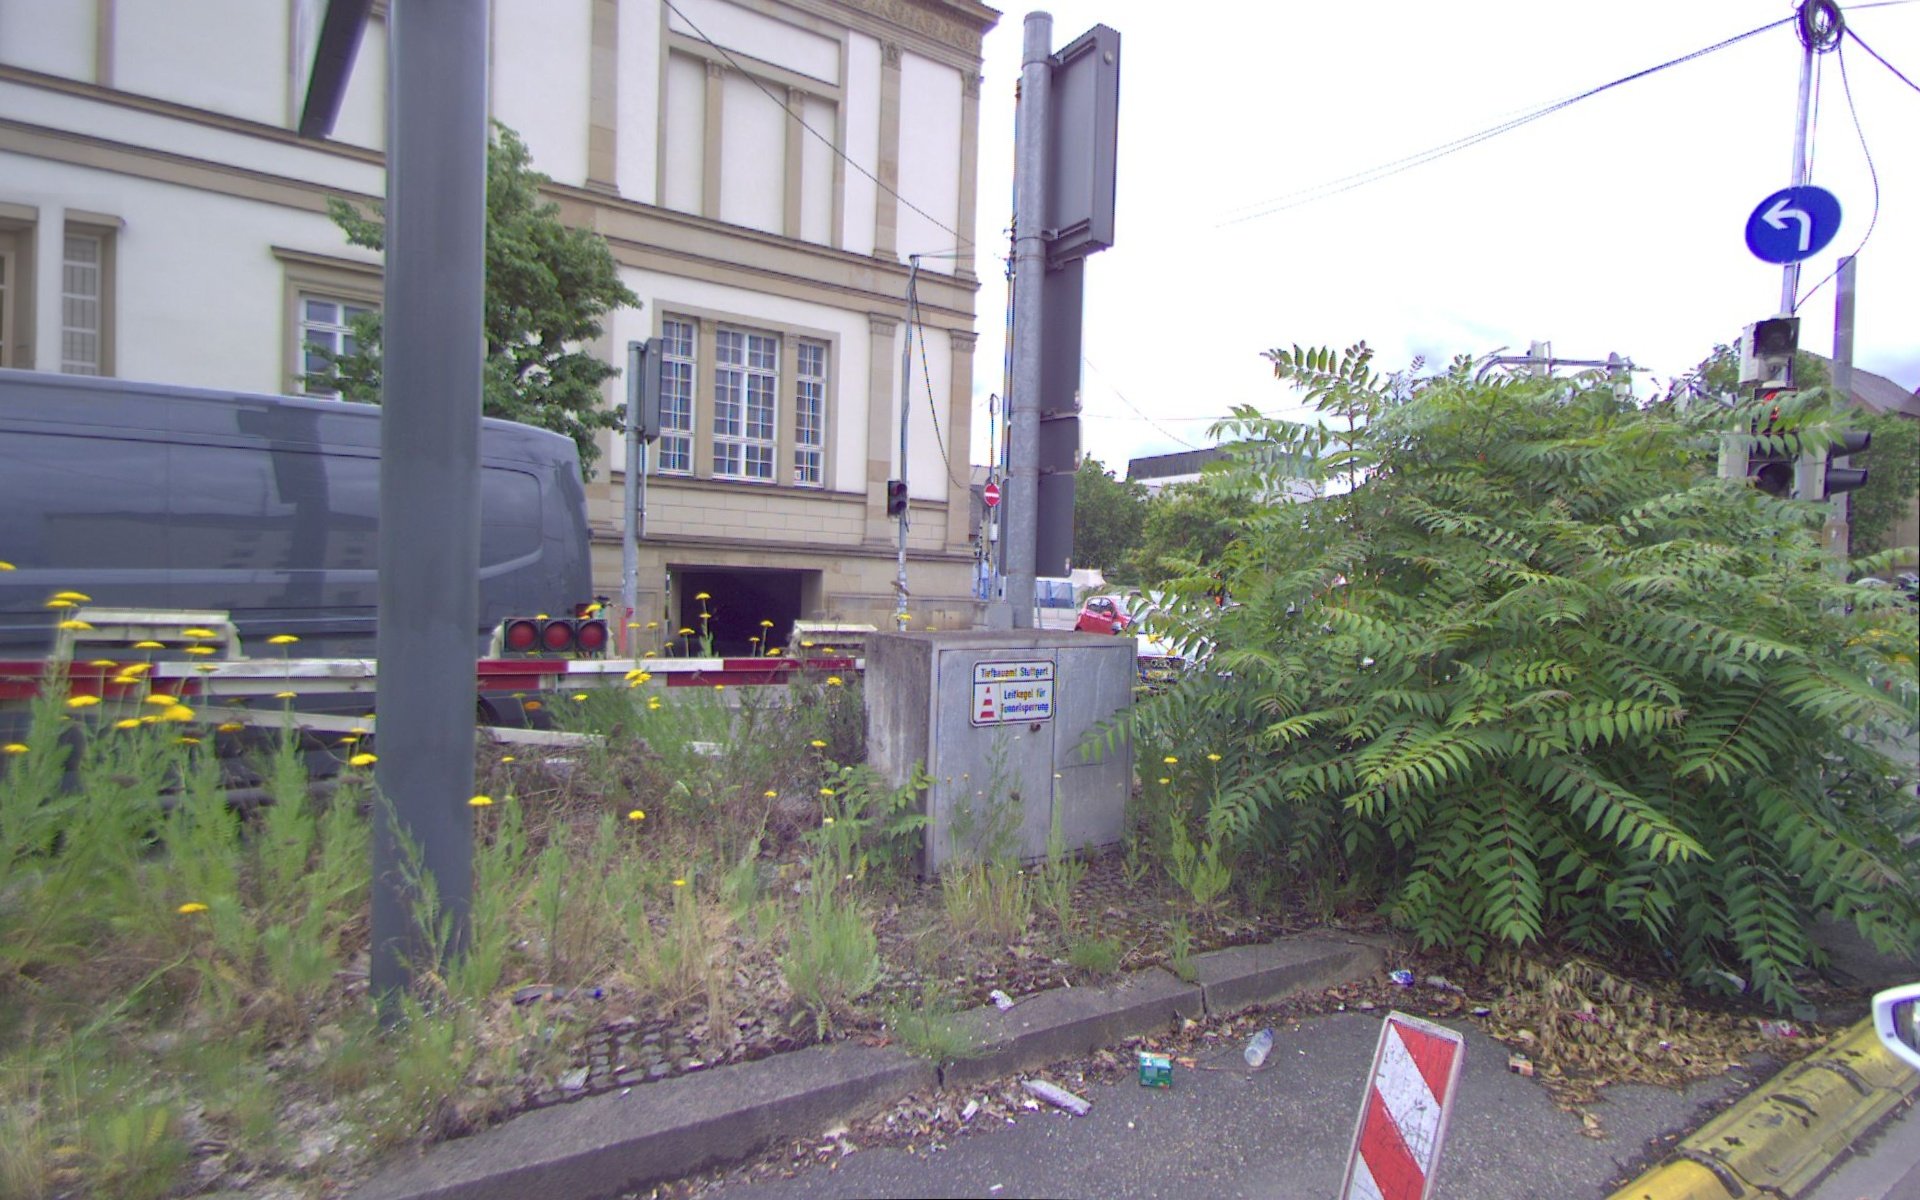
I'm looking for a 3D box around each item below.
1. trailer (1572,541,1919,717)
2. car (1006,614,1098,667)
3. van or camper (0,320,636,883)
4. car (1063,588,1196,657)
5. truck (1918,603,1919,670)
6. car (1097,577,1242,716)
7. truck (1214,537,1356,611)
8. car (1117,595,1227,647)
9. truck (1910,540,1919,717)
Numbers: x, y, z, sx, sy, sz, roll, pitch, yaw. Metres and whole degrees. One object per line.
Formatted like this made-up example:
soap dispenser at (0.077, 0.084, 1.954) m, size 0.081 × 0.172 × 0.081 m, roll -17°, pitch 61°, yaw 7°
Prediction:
trailer at (15.428, 0.472, 17.804) m, size 2.831 × 2.761 × 7.308 m, roll 2°, pitch 0°, yaw -32°
car at (3.861, 1.685, 42.799) m, size 1.975 × 2.040 × 3.970 m, roll 2°, pitch 0°, yaw -28°
van or camper at (-5.149, -0.004, 5.567) m, size 6.030 × 2.645 × 2.136 m, roll 1°, pitch 0°, yaw -39°
car at (4.322, 0.544, 26.298) m, size 1.879 × 1.630 × 3.986 m, roll 2°, pitch 0°, yaw -16°
truck at (47.131, 1.755, 44.485) m, size 6.499 × 3.188 × 2.358 m, roll 2°, pitch 0°, yaw 38°
car at (3.111, 0.614, 14.982) m, size 1.797 × 1.728 × 4.002 m, roll 2°, pitch 0°, yaw 12°
truck at (23.639, -1.824, 73.617) m, size 3.090 × 5.026 × 9.628 m, roll 2°, pitch 0°, yaw -41°
car at (8.047, 0.755, 38.443) m, size 1.889 × 1.763 × 3.964 m, roll 2°, pitch 1°, yaw -32°
truck at (17.280, 0.507, 14.772) m, size 2.830 × 2.761 × 4.183 m, roll 2°, pitch 0°, yaw -31°
